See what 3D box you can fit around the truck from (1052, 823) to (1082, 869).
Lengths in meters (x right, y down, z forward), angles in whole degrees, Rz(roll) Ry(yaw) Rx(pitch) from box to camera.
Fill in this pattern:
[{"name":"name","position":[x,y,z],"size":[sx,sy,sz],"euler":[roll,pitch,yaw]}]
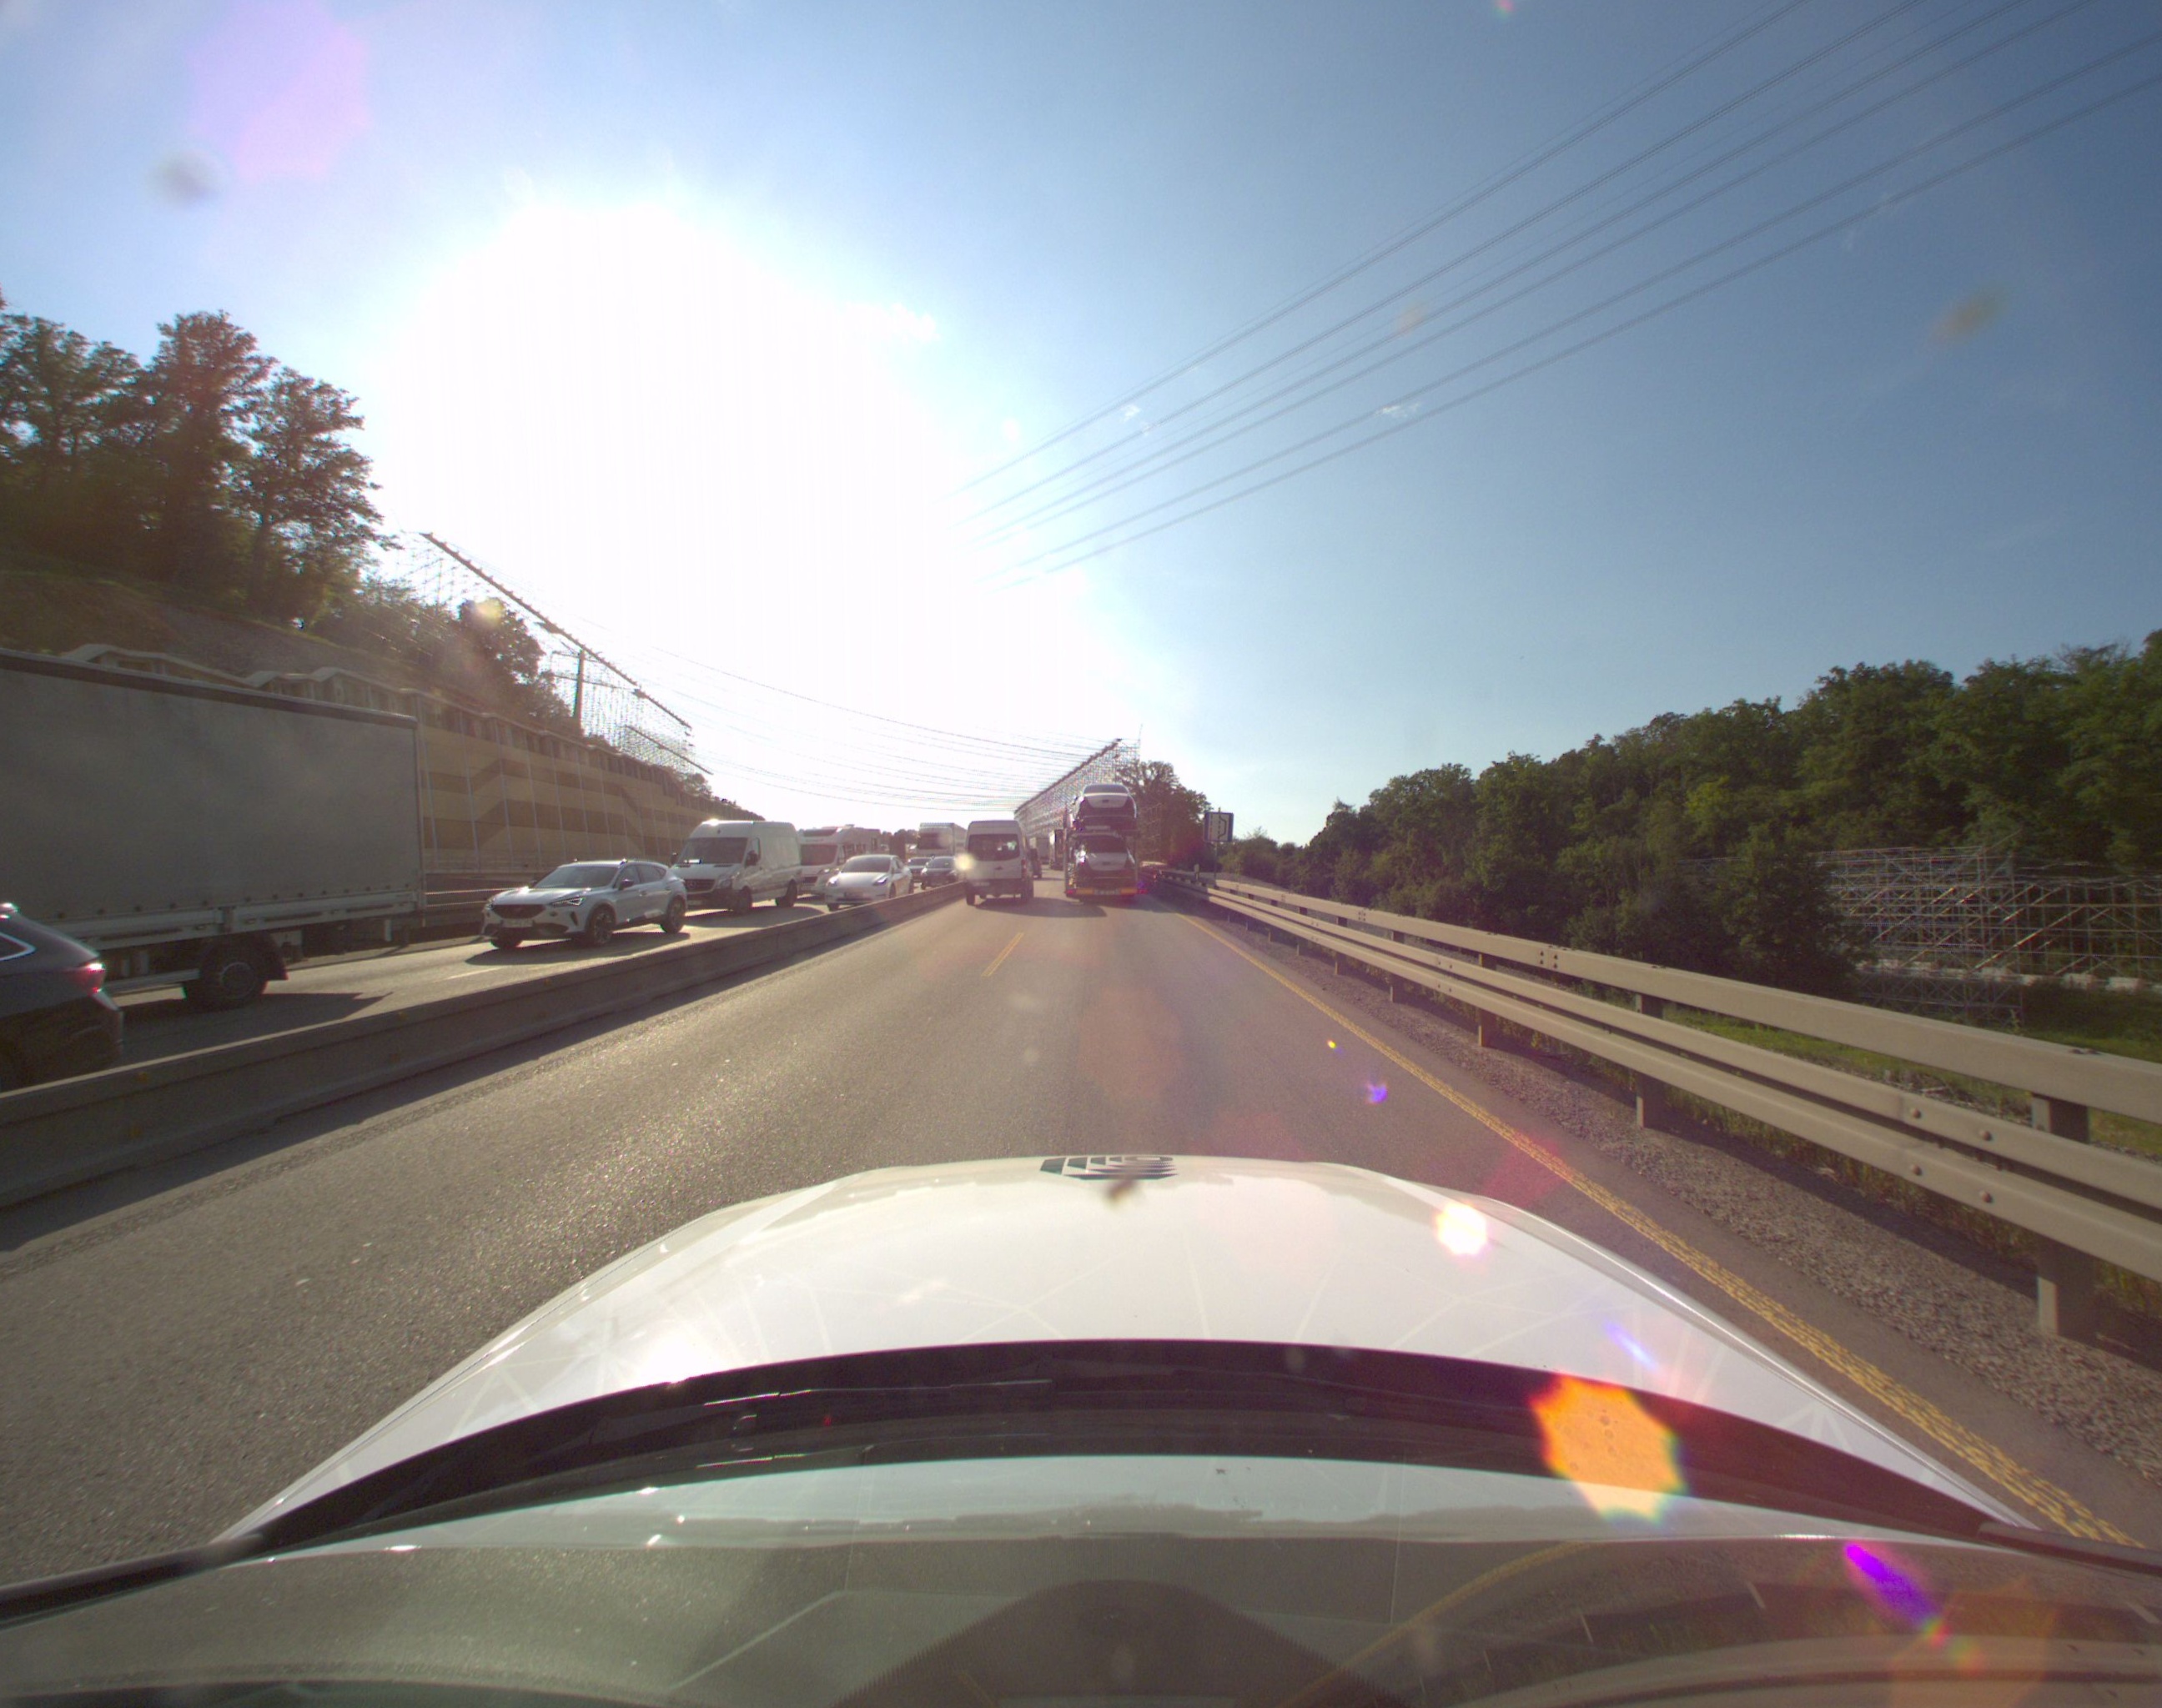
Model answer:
[{"name":"truck","position":[-1.560,-0.757,83.424],"size":[2.725,4.385,11.510],"euler":[0,0,-2]}]

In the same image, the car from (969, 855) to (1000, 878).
[{"name":"car","position":[-7.314,0.917,62.296],"size":[1.812,1.579,4.753],"euler":[-3,1,-1]}]

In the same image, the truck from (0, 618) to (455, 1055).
[{"name":"truck","position":[-9.763,-0.125,7.239],"size":[2.439,3.462,7.616],"euler":[-1,0,0]}]

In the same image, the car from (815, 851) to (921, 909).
[{"name":"car","position":[-6.584,0.747,25.782],"size":[2.052,1.486,4.725],"euler":[-4,1,-1]}]

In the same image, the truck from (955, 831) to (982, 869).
[{"name":"truck","position":[-12.961,-0.431,94.167],"size":[2.741,4.300,5.921],"euler":[-1,0,-6]}]

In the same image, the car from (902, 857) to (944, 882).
[{"name":"car","position":[-9.571,0.908,49.594],"size":[1.739,1.460,4.709],"euler":[-1,0,-2]}]

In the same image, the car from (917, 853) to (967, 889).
[{"name":"car","position":[-6.577,0.765,38.858],"size":[1.777,1.521,3.998],"euler":[1,1,-1]}]

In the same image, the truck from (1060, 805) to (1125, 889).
[{"name":"truck","position":[0.481,-0.307,39.905],"size":[2.873,3.702,7.322],"euler":[-1,0,-1]}]

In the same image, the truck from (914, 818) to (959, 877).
[{"name":"truck","position":[-10.814,-0.449,61.497],"size":[2.708,4.218,5.674],"euler":[-1,0,-4]}]

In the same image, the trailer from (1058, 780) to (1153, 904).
[{"name":"trailer","position":[0.610,-0.344,32.244],"size":[2.861,3.725,14.939],"euler":[-1,0,-1]}]

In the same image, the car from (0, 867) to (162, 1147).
[{"name":"car","position":[-6.720,0.838,3.068],"size":[1.649,1.523,4.285],"euler":[0,0,-1]}]

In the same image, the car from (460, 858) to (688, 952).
[{"name":"car","position":[-9.280,0.852,15.358],"size":[1.757,1.523,4.003],"euler":[0,0,1]}]

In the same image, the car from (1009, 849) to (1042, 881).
[{"name":"car","position":[-3.540,0.698,52.628],"size":[1.989,2.014,3.996],"euler":[0,-1,-3]}]

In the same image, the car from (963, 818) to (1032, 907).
[{"name":"car","position":[-2.629,0.270,26.506],"size":[1.952,2.621,3.996],"euler":[-1,-1,-3]}]

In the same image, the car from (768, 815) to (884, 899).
[{"name":"car","position":[-9.939,0.140,32.575],"size":[2.328,2.918,7.627],"euler":[-1,-1,-1]}]

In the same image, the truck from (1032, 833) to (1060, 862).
[{"name":"truck","position":[-5.676,-1.019,129.492],"size":[3.681,4.220,13.645],"euler":[-4,1,-5]}]

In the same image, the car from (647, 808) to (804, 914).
[{"name":"car","position":[-9.943,0.208,23.400],"size":[1.950,2.621,5.746],"euler":[-2,-1,0]}]
